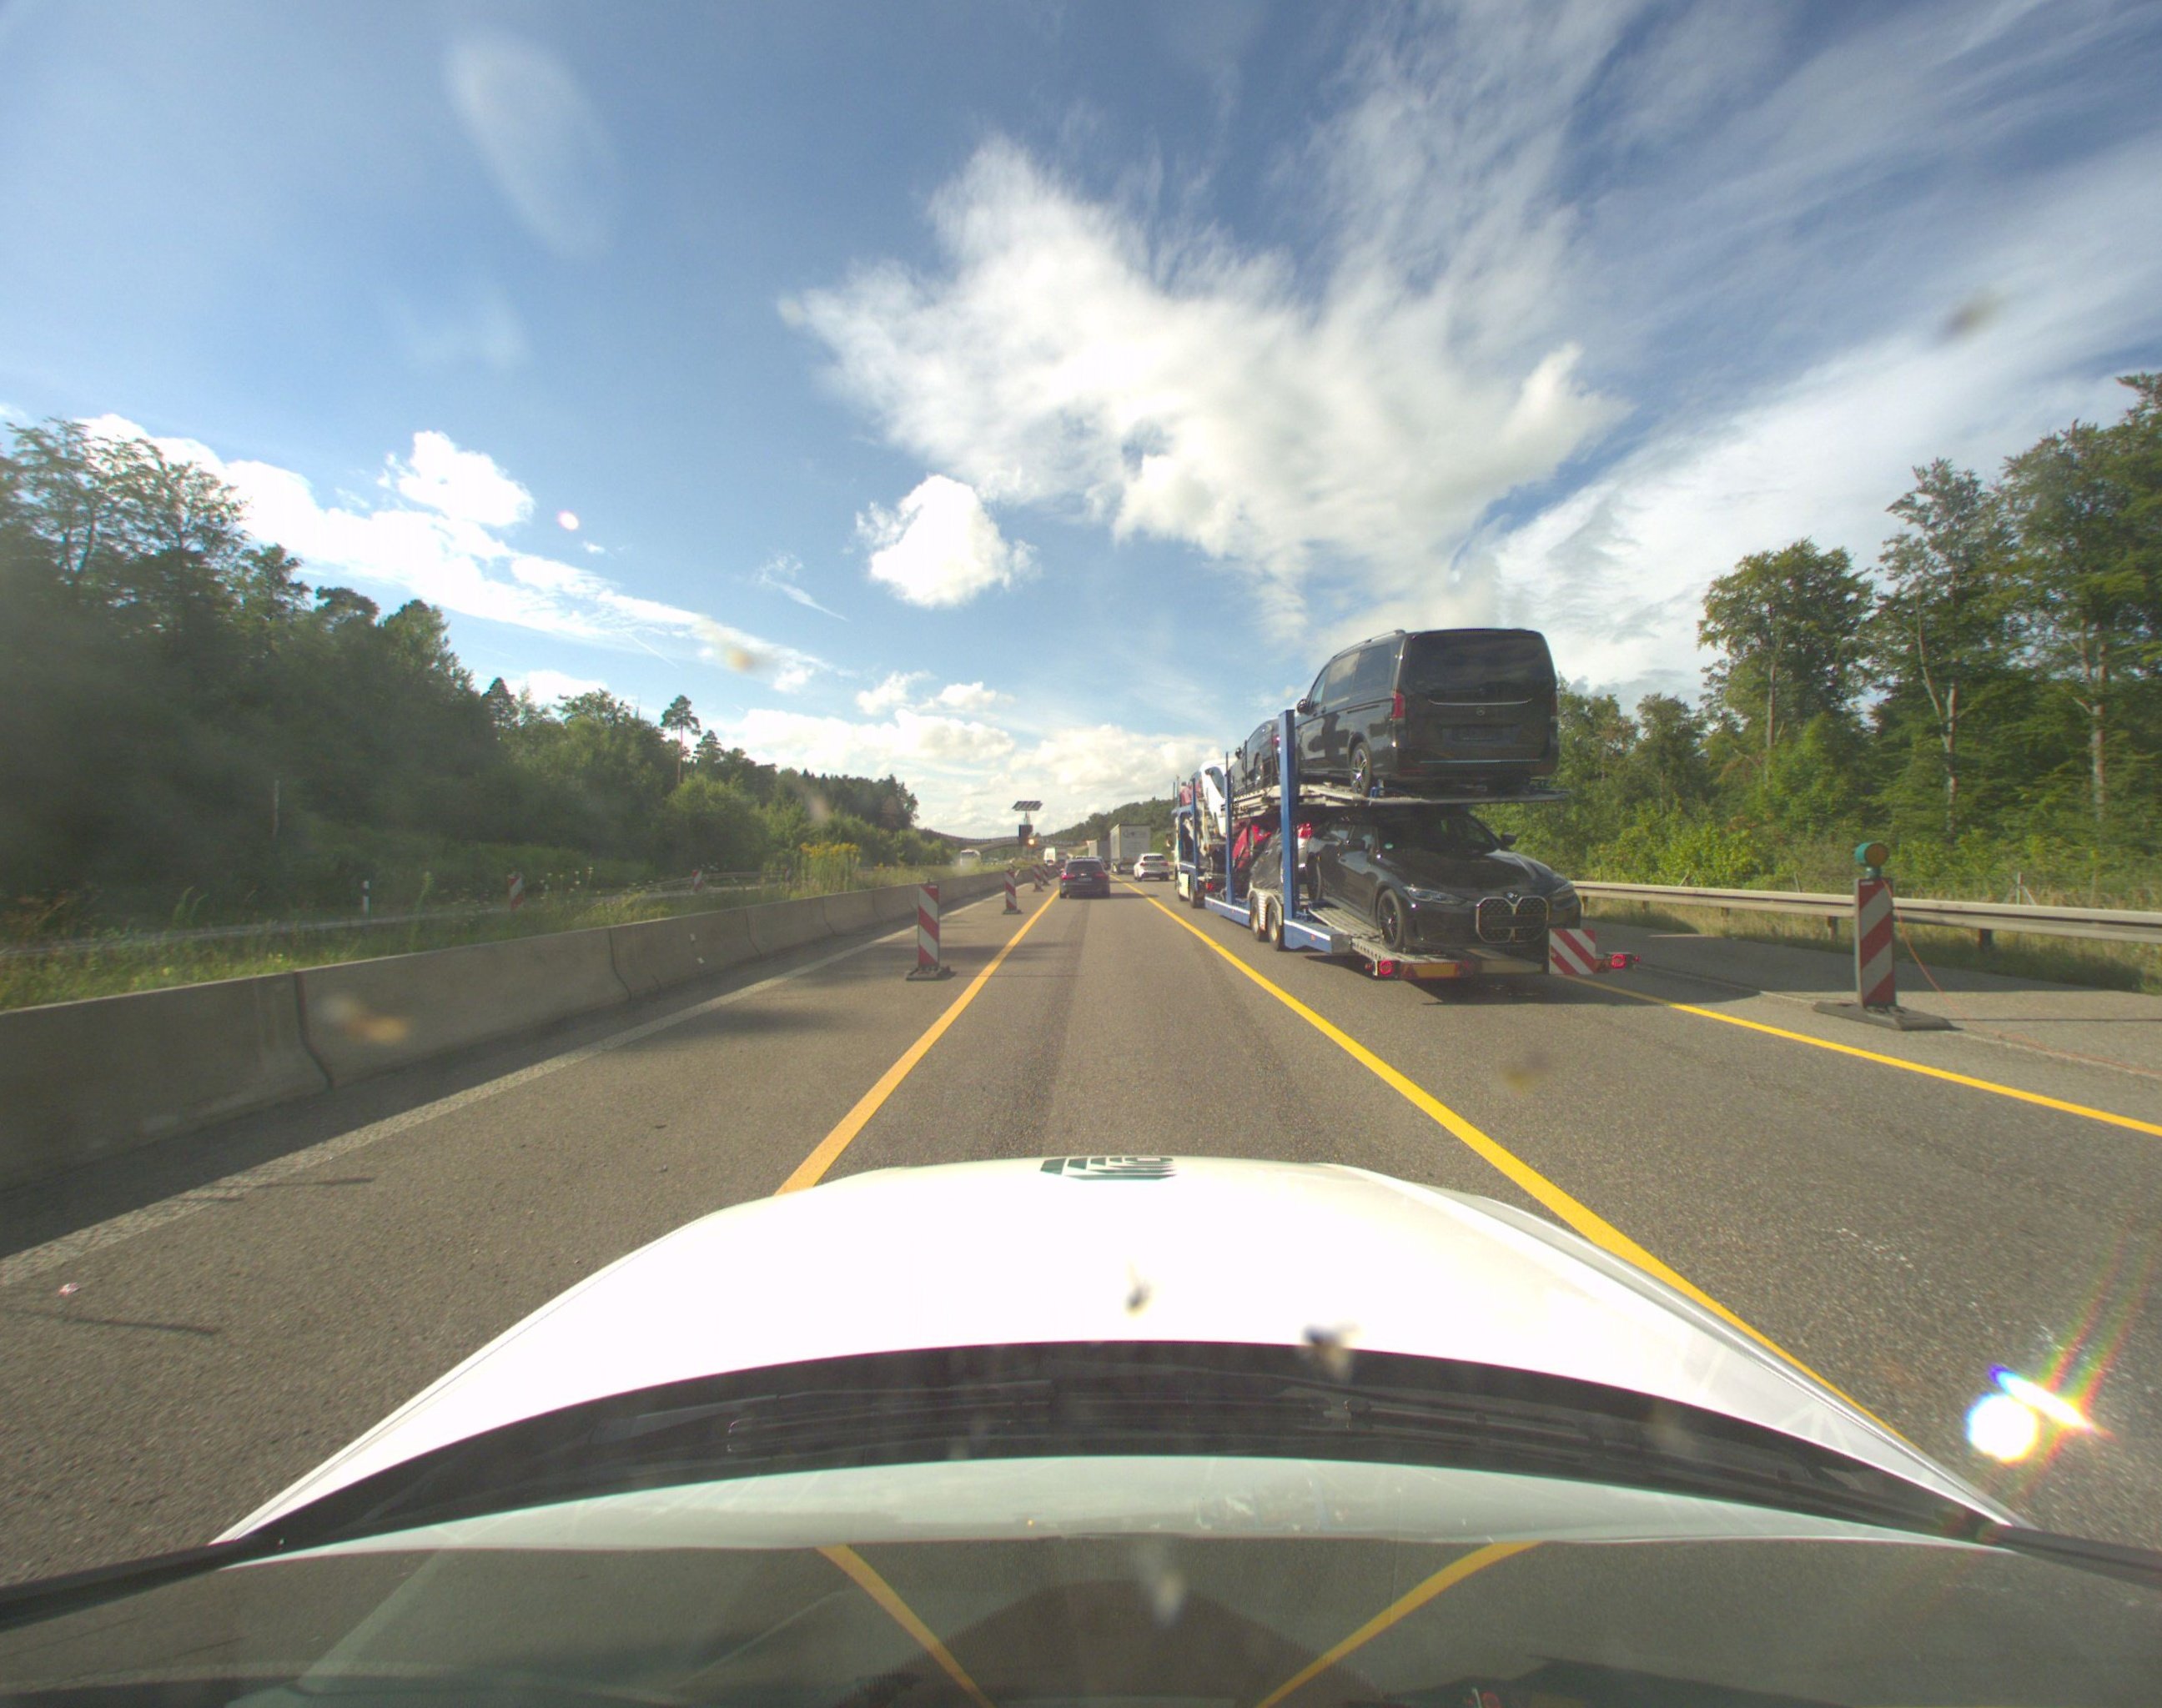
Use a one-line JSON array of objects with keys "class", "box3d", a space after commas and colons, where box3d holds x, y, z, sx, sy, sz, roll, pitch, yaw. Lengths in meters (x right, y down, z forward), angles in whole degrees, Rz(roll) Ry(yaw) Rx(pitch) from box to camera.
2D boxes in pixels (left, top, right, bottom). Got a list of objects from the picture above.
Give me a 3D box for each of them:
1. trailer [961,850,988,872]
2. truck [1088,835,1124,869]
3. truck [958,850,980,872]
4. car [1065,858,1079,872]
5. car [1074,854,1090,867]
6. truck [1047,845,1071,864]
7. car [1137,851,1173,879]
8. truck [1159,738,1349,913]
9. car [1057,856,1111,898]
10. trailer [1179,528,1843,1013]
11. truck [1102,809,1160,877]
[{"class": "trailer", "box3d": [-17.912, 1.158, 137.690, 2.792, 3.490, 11.114, -1, -1, 1]}, {"class": "truck", "box3d": [3.509, -0.238, 117.681, 4.309, 4.600, 11.112, -1, -1, -3]}, {"class": "truck", "box3d": [-18.050, 1.121, 131.564, 2.775, 3.490, 4.940, -1, -1, 1]}, {"class": "car", "box3d": [-1.419, 1.708, 125.468, 1.989, 2.014, 3.996, -1, -1, -3]}, {"class": "car", "box3d": [0.113, 0.835, 107.957, 1.886, 1.643, 4.012, -1, -1, -3]}, {"class": "truck", "box3d": [-4.734, 0.224, 174.202, 3.653, 3.928, 11.033, -1, -1, -9]}, {"class": "car", "box3d": [4.450, 0.661, 49.519, 1.883, 1.643, 4.019, -1, -1, 1]}, {"class": "truck", "box3d": [4.561, -0.660, 23.665, 3.750, 4.196, 7.948, -1, -1, 0]}, {"class": "car", "box3d": [0.167, 0.838, 30.706, 1.883, 1.446, 4.001, -1, -1, 1]}, {"class": "trailer", "box3d": [4.737, -0.673, 15.217, 3.714, 4.196, 16.222, -1, -1, 0]}, {"class": "truck", "box3d": [4.178, -0.822, 72.739, 3.668, 5.353, 16.188, -1, -1, -2]}]
